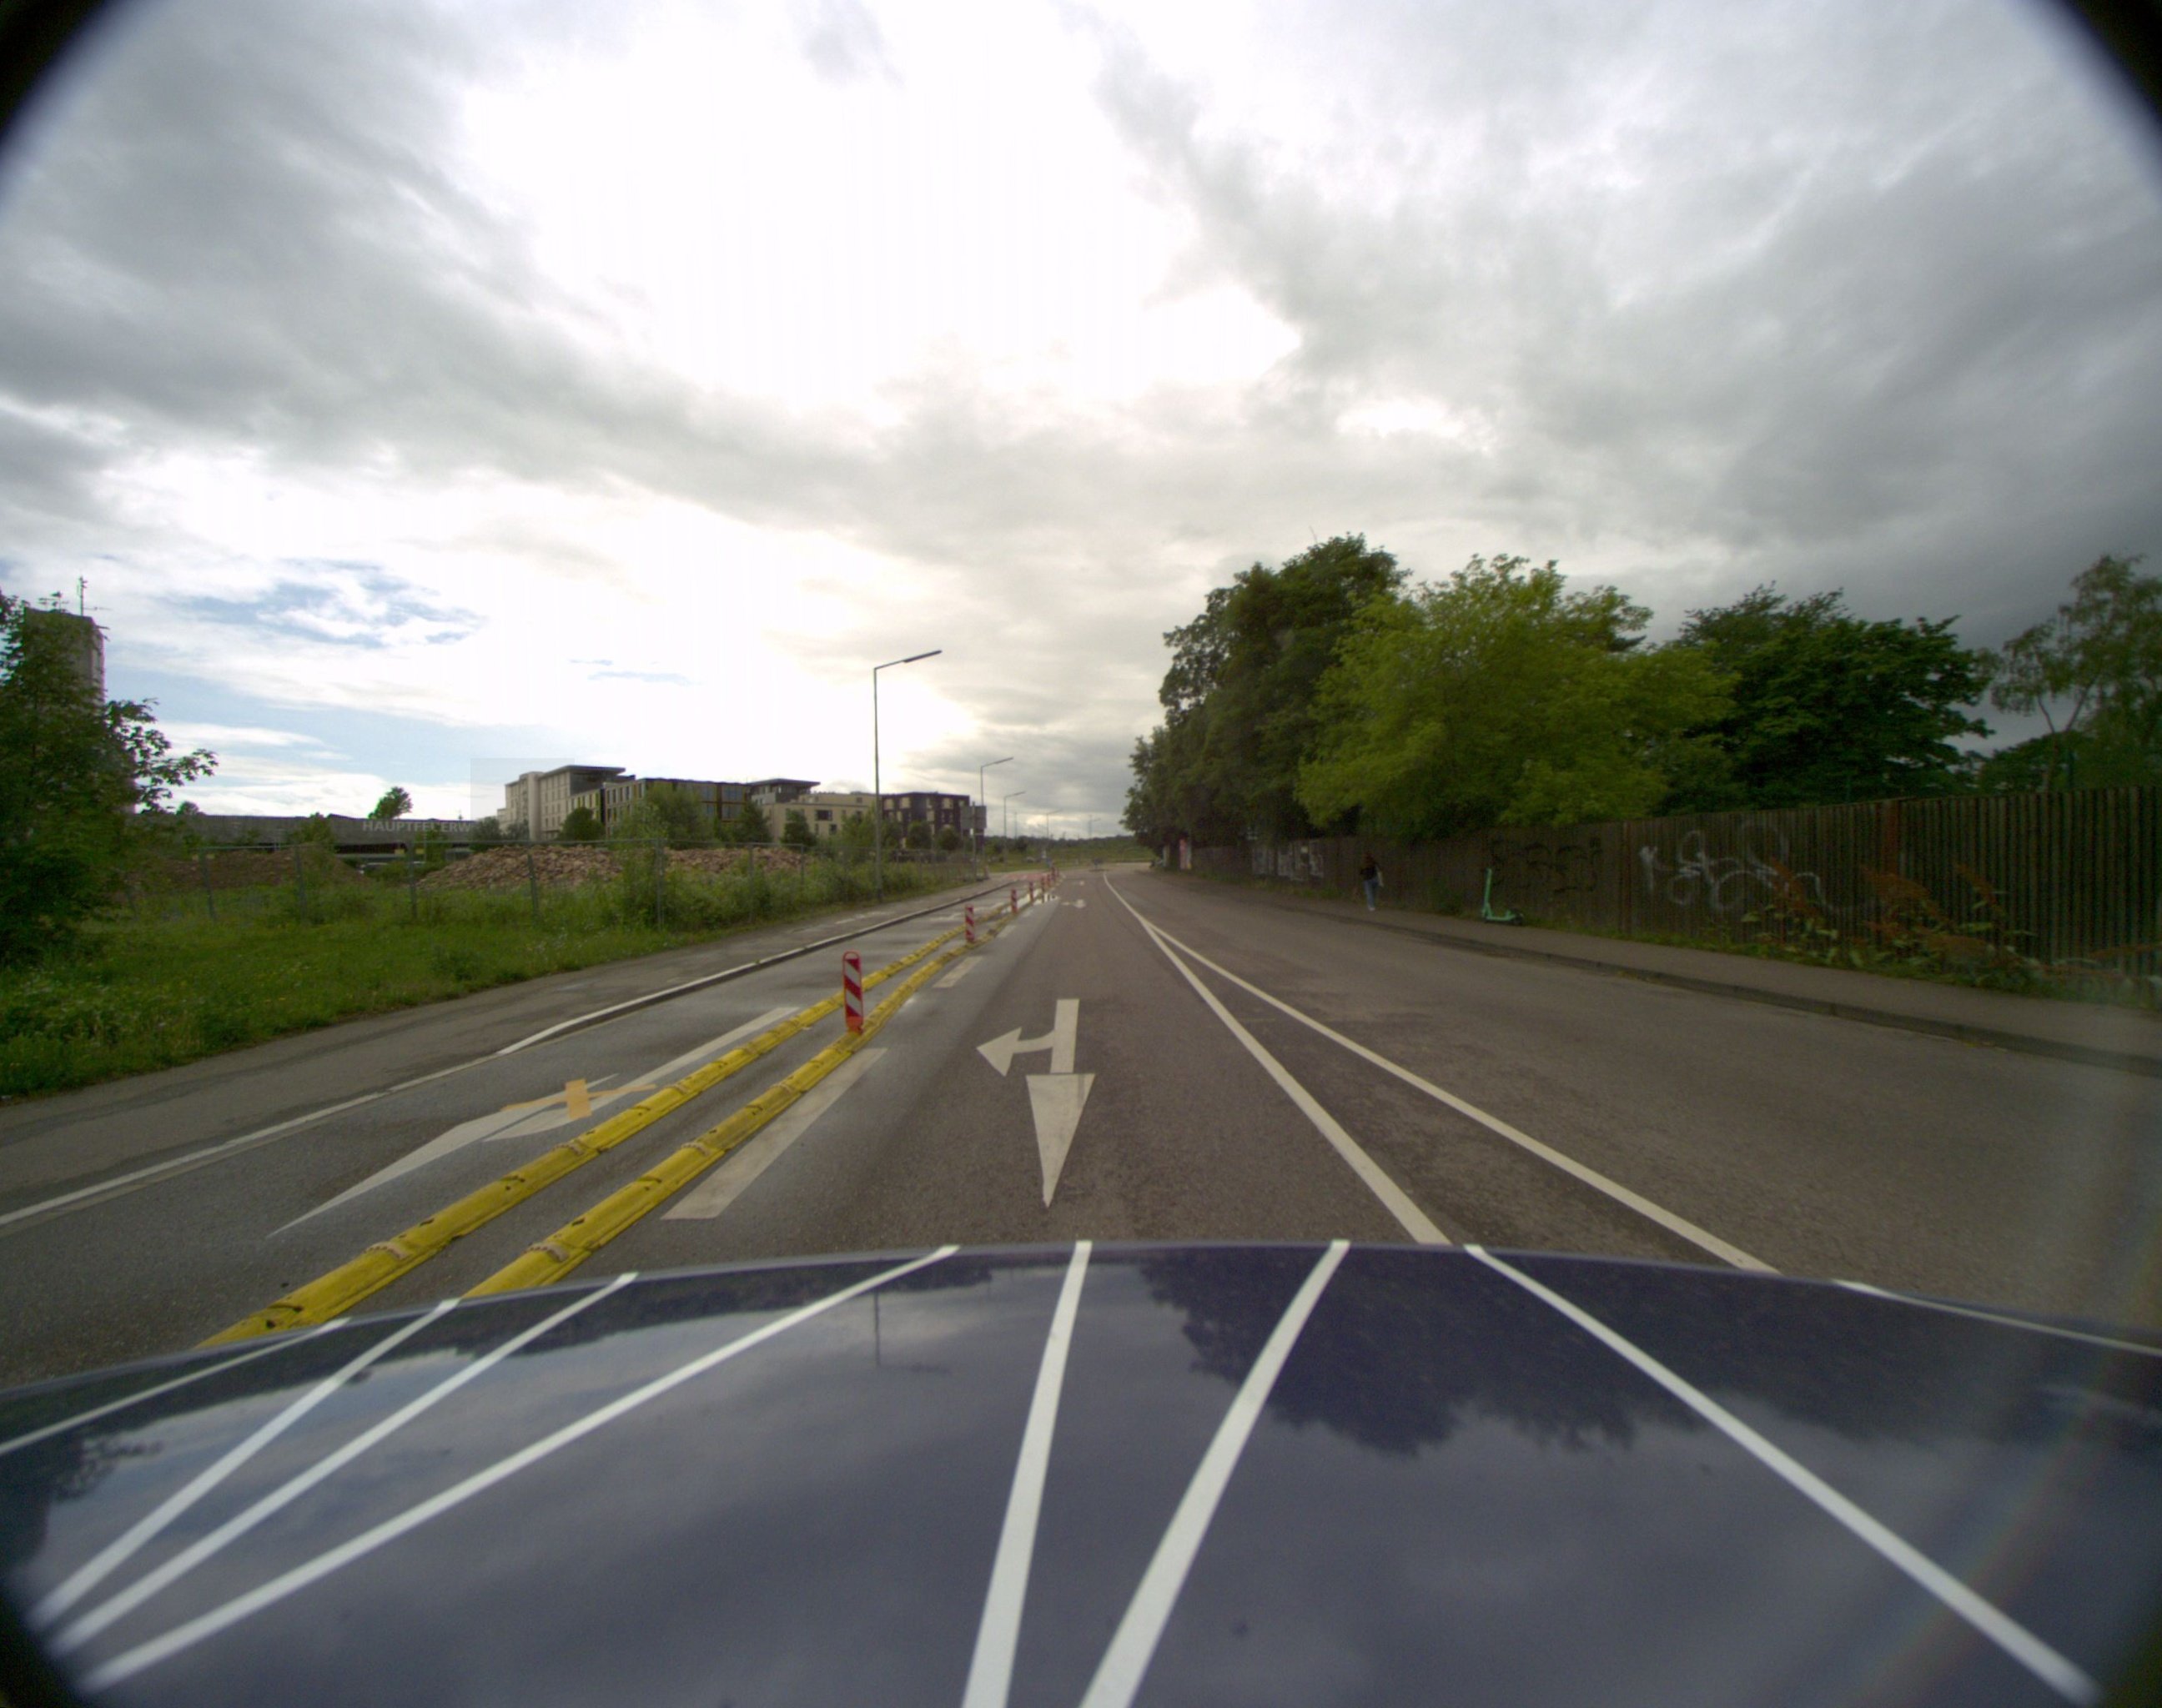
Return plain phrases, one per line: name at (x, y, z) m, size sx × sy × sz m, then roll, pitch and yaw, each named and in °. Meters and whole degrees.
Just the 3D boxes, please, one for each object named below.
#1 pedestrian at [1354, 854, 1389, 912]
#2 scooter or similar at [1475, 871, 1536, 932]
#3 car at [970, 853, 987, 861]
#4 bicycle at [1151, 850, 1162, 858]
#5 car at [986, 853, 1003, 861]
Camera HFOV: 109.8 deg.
pedestrian at (7.744, 0.759, 20.251) m, size 0.614 × 1.520 × 0.724 m, roll -1°, pitch 1°, yaw -4°
scooter or similar at (8.613, 0.941, 15.456) m, size 0.424 × 1.164 × 1.303 m, roll -1°, pitch 0°, yaw -5°
car at (-26.238, 0.790, 194.858) m, size 1.994 × 2.002 × 4.008 m, roll 0°, pitch 0°, yaw 42°
bicycle at (9.273, 0.015, 93.168) m, size 0.582 × 0.992 × 1.773 m, roll -3°, pitch 0°, yaw 28°
car at (-21.528, 0.651, 189.099) m, size 1.994 × 2.002 × 4.008 m, roll 0°, pitch 0°, yaw 42°
